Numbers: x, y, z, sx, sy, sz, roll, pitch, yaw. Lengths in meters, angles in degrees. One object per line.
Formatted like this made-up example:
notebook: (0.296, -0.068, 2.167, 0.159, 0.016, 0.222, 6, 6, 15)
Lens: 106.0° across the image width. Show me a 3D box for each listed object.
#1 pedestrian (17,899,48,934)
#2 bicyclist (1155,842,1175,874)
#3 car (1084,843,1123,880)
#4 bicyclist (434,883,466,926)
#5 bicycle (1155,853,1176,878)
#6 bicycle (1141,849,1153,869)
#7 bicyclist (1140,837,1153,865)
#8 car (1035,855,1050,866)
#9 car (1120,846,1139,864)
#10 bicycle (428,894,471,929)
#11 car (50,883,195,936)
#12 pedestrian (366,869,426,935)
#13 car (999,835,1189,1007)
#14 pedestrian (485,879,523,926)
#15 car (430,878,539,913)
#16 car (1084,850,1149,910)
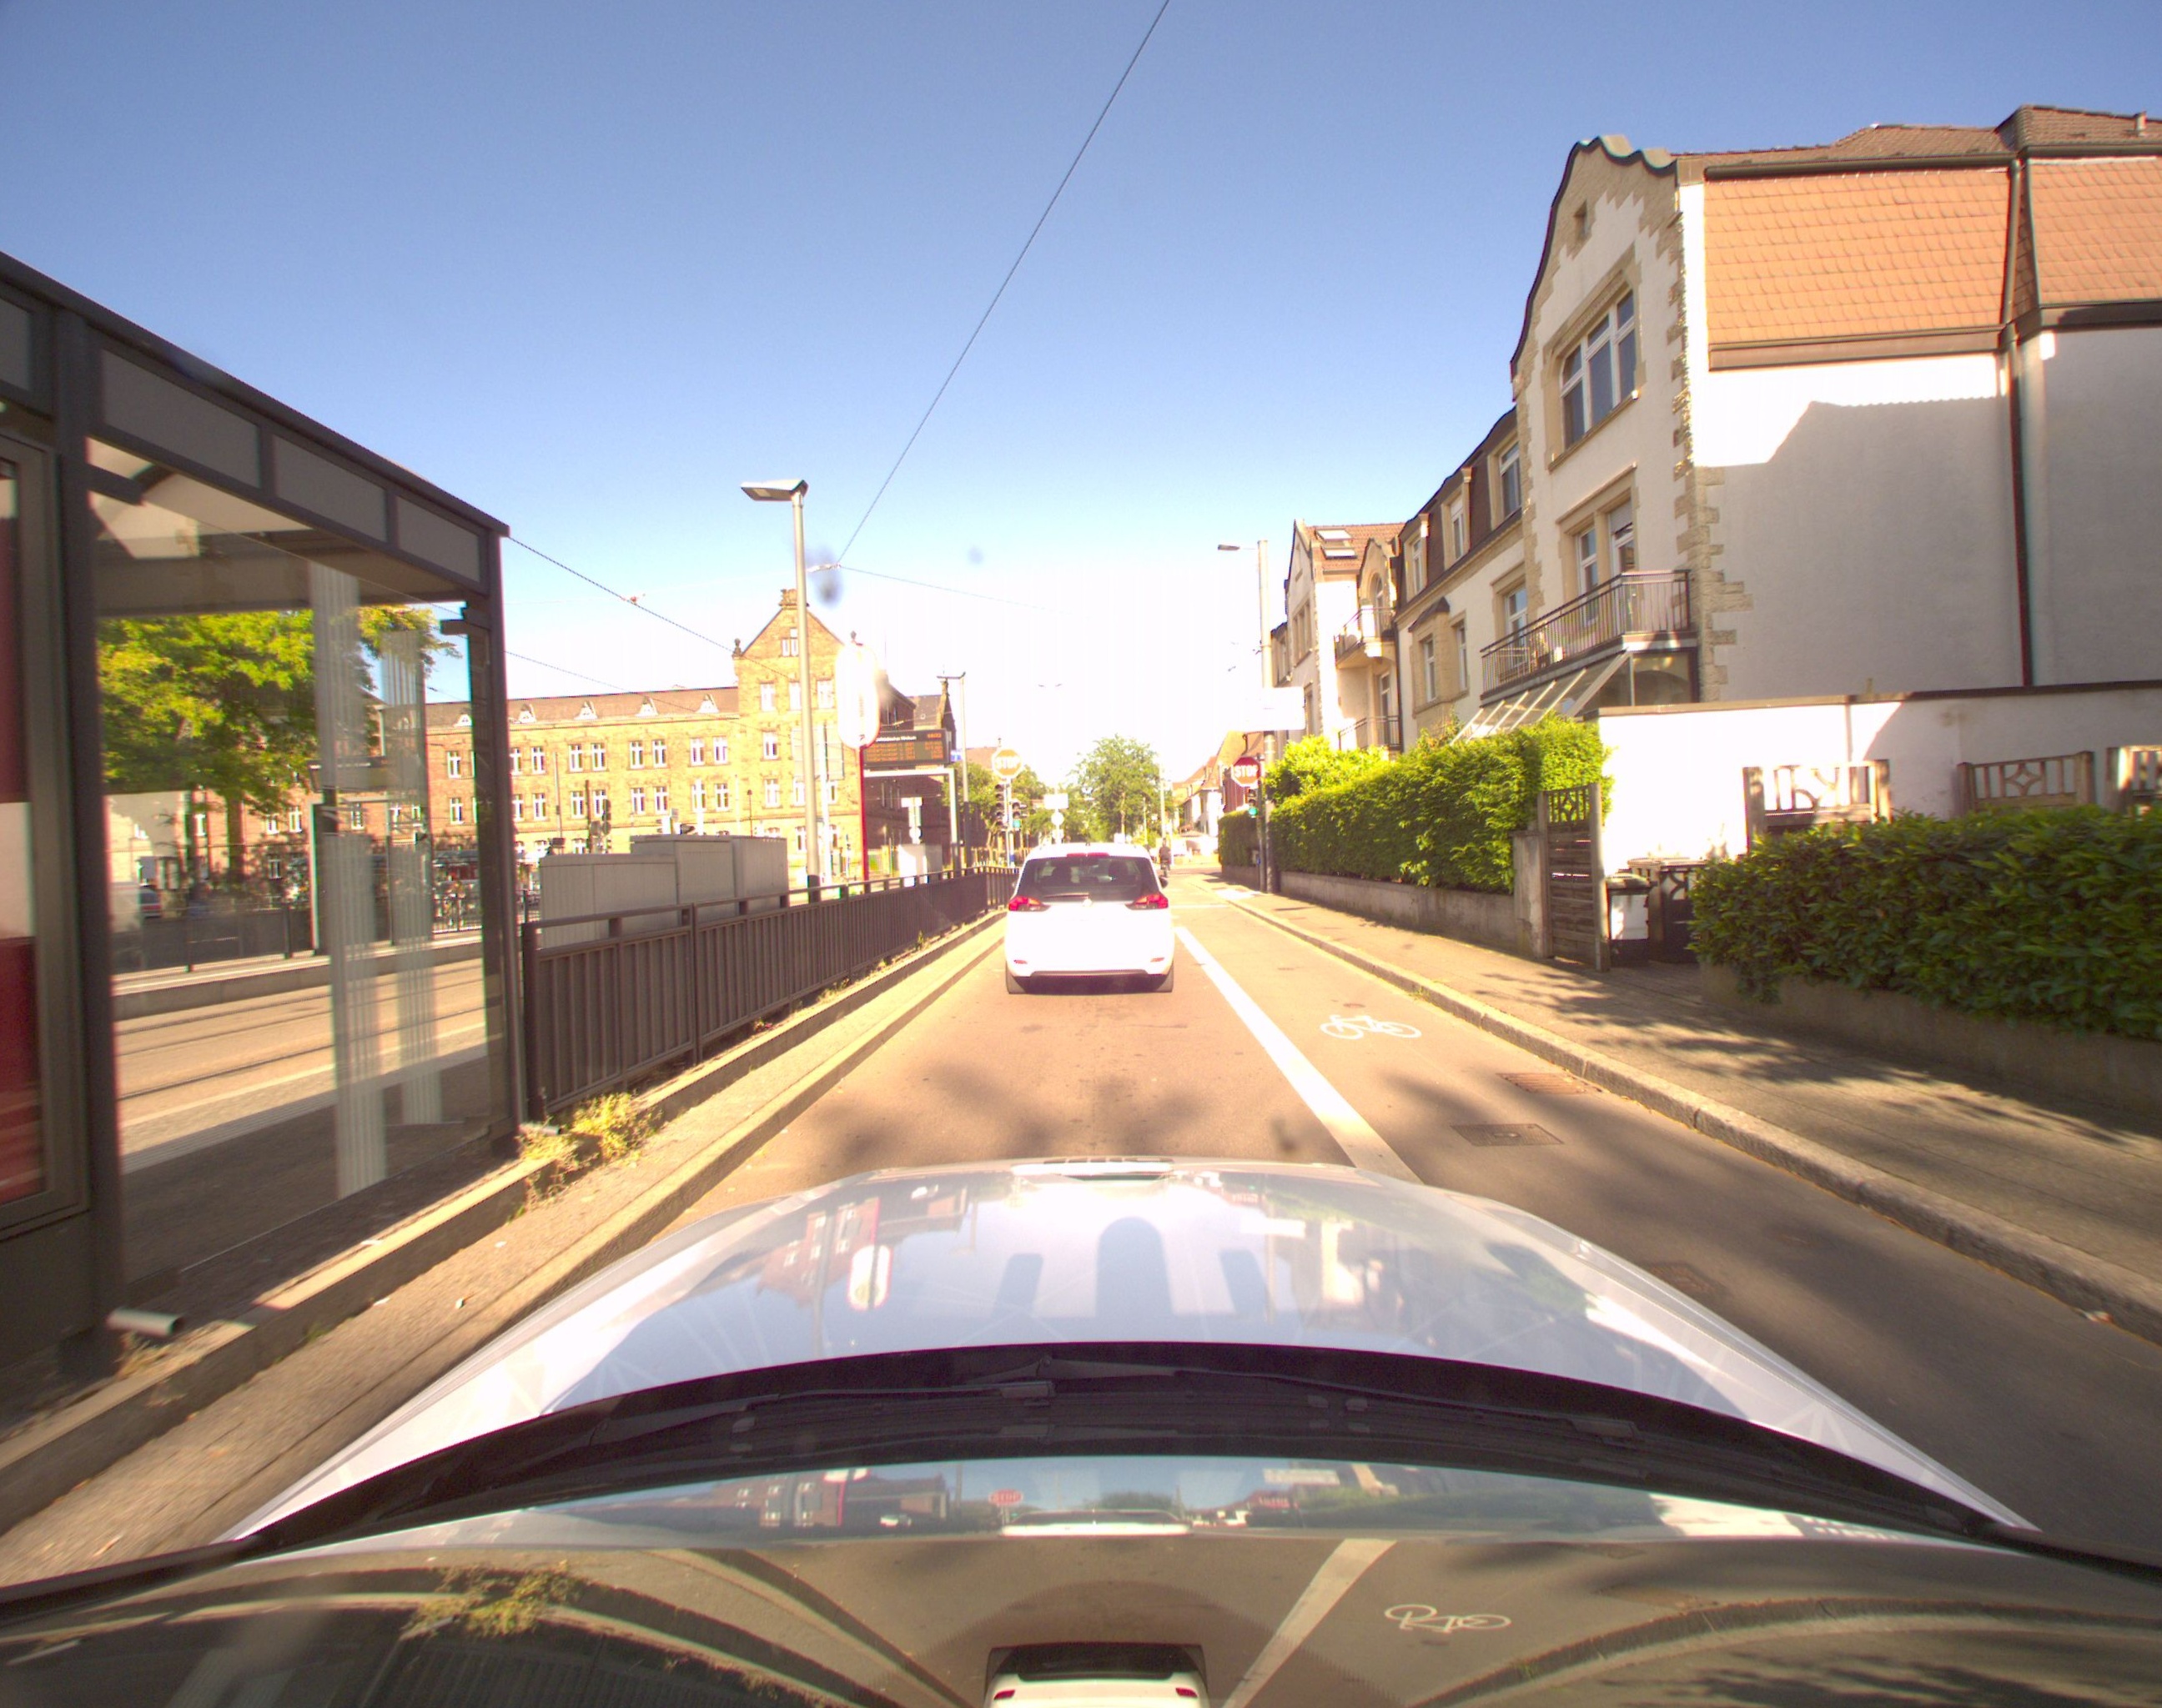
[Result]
pedestrian: (-49.710, 2.958, 38.606, 0.712, 1.598, 0.540, -2, 0, 3)
bicyclist: (3.980, 0.187, 38.745, 0.818, 1.501, 0.934, -2, 0, 2)
car: (1.133, 0.354, 39.564, 1.769, 1.632, 3.883, -2, 0, 2)
bicyclist: (-20.795, 1.659, 26.864, 0.692, 1.383, 0.530, -2, 0, -24)
bicycle: (3.999, 0.528, 38.760, 0.826, 1.154, 2.095, -2, 0, 2)
bicycle: (3.914, 0.303, 48.311, 0.682, 1.157, 1.621, -2, 0, 5)
bicyclist: (3.906, -0.171, 48.427, 0.682, 1.634, 1.017, -2, 0, 5)
car: (-5.117, 0.844, 108.977, 1.574, 1.441, 3.589, -2, 0, 5)
car: (4.793, 0.068, 79.948, 1.767, 1.632, 3.886, -2, 0, 5)
bicycle: (-20.761, 1.868, 26.811, 0.694, 1.049, 1.656, -2, 0, -24)
car: (-50.921, 2.927, 43.332, 5.011, 2.452, 2.261, -2, 0, 1)
pedestrian: (-20.182, 1.387, 24.012, 0.723, 1.861, 1.098, -2, 0, 5)
car: (0.231, 0.668, 10.017, 1.827, 1.642, 3.922, -2, 0, 3)
pedestrian: (-19.784, 1.655, 27.947, 0.568, 1.569, 0.836, -2, 1, 23)
car: (-29.536, 2.036, 40.402, 4.046, 1.522, 1.879, -2, 0, 4)
car: (1.044, 0.653, 22.538, 1.579, 1.420, 3.905, -3, 0, 4)
